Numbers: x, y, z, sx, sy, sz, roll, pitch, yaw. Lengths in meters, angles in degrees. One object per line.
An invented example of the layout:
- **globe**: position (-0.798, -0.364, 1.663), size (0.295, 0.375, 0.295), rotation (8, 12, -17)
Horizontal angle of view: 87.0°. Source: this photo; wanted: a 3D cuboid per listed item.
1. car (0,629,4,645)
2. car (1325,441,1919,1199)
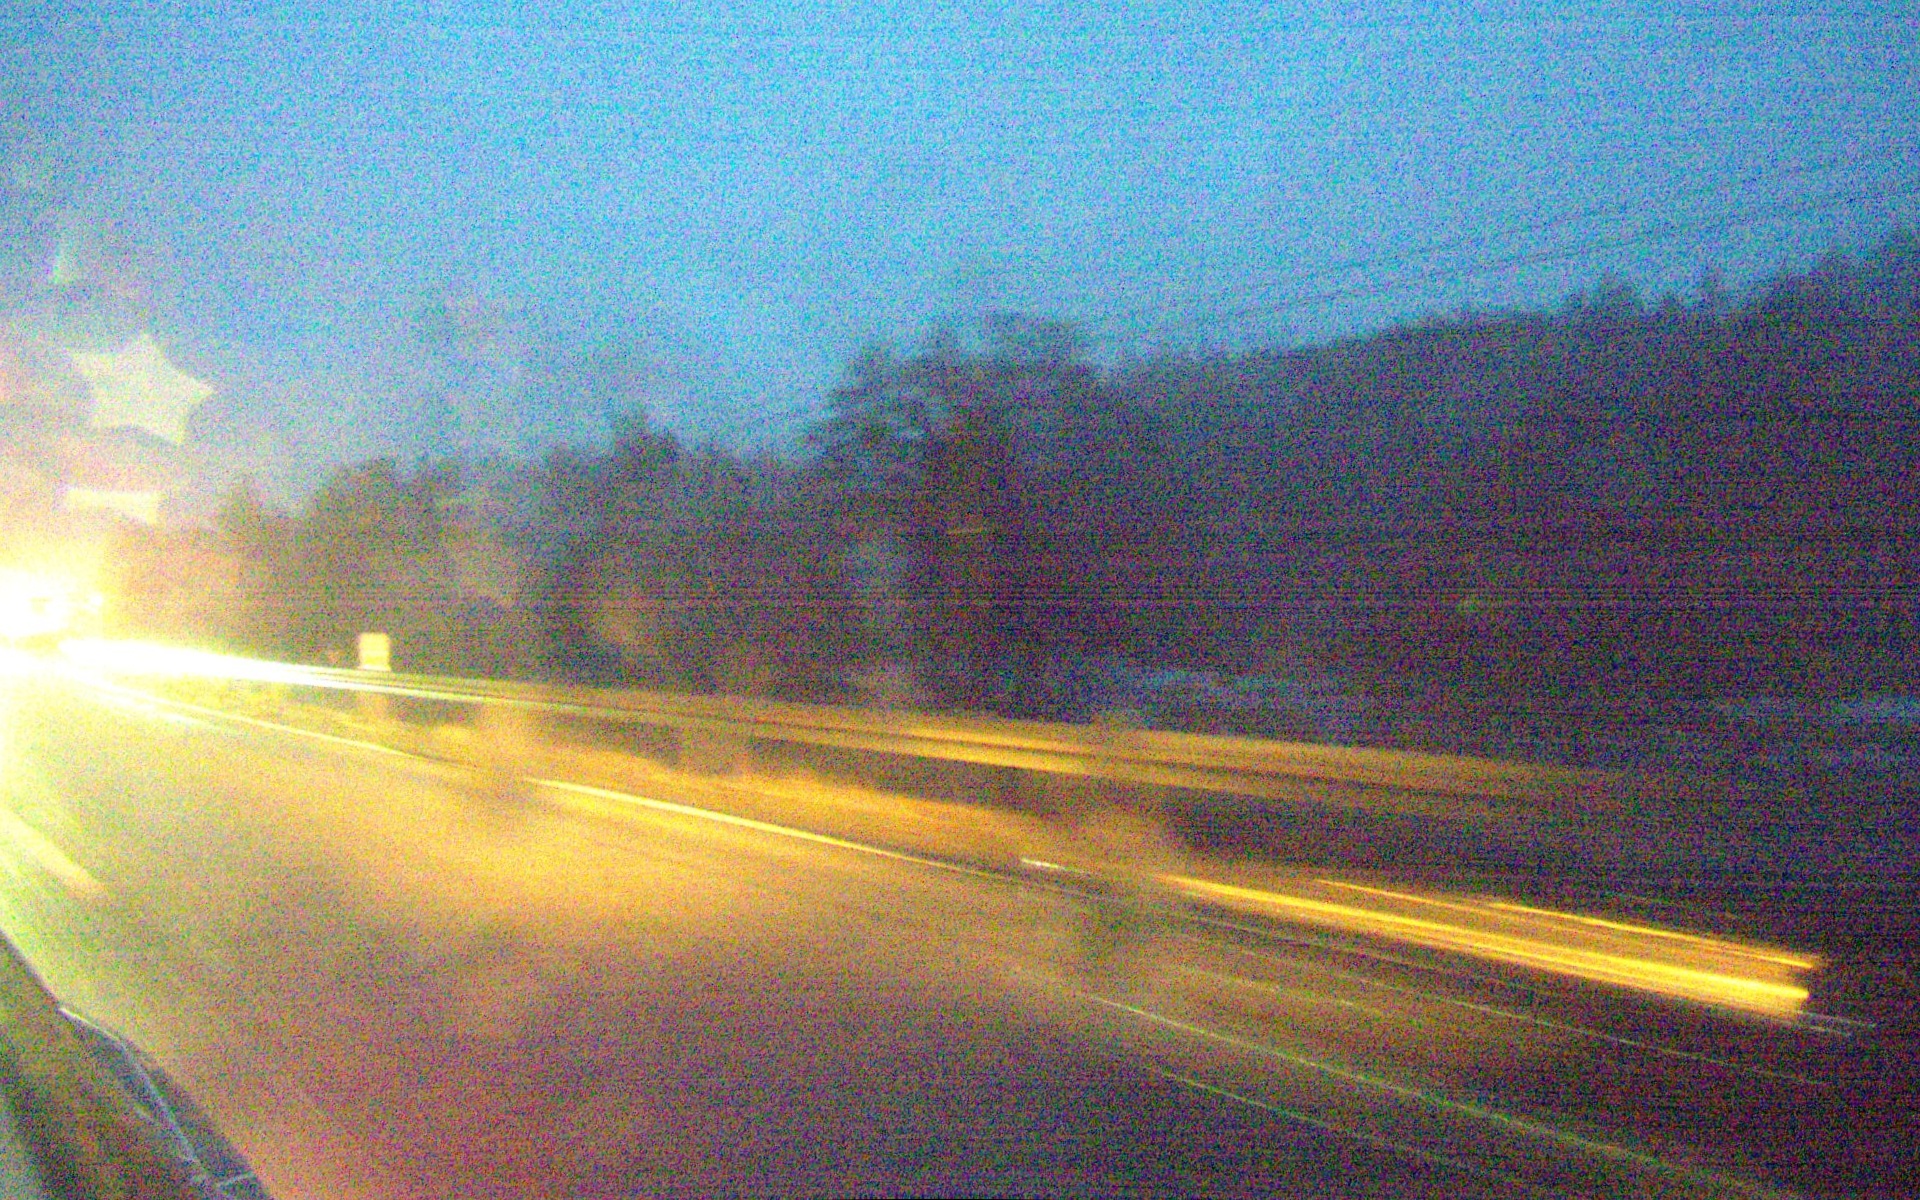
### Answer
- **car**: position (-97.233, 3.747, 101.523), size (1.833, 1.533, 4.686), rotation (0, -1, -42)
- **car**: position (2.816, 0.562, 1.405), size (3.999, 1.625, 1.704), rotation (-2, -1, 40)
